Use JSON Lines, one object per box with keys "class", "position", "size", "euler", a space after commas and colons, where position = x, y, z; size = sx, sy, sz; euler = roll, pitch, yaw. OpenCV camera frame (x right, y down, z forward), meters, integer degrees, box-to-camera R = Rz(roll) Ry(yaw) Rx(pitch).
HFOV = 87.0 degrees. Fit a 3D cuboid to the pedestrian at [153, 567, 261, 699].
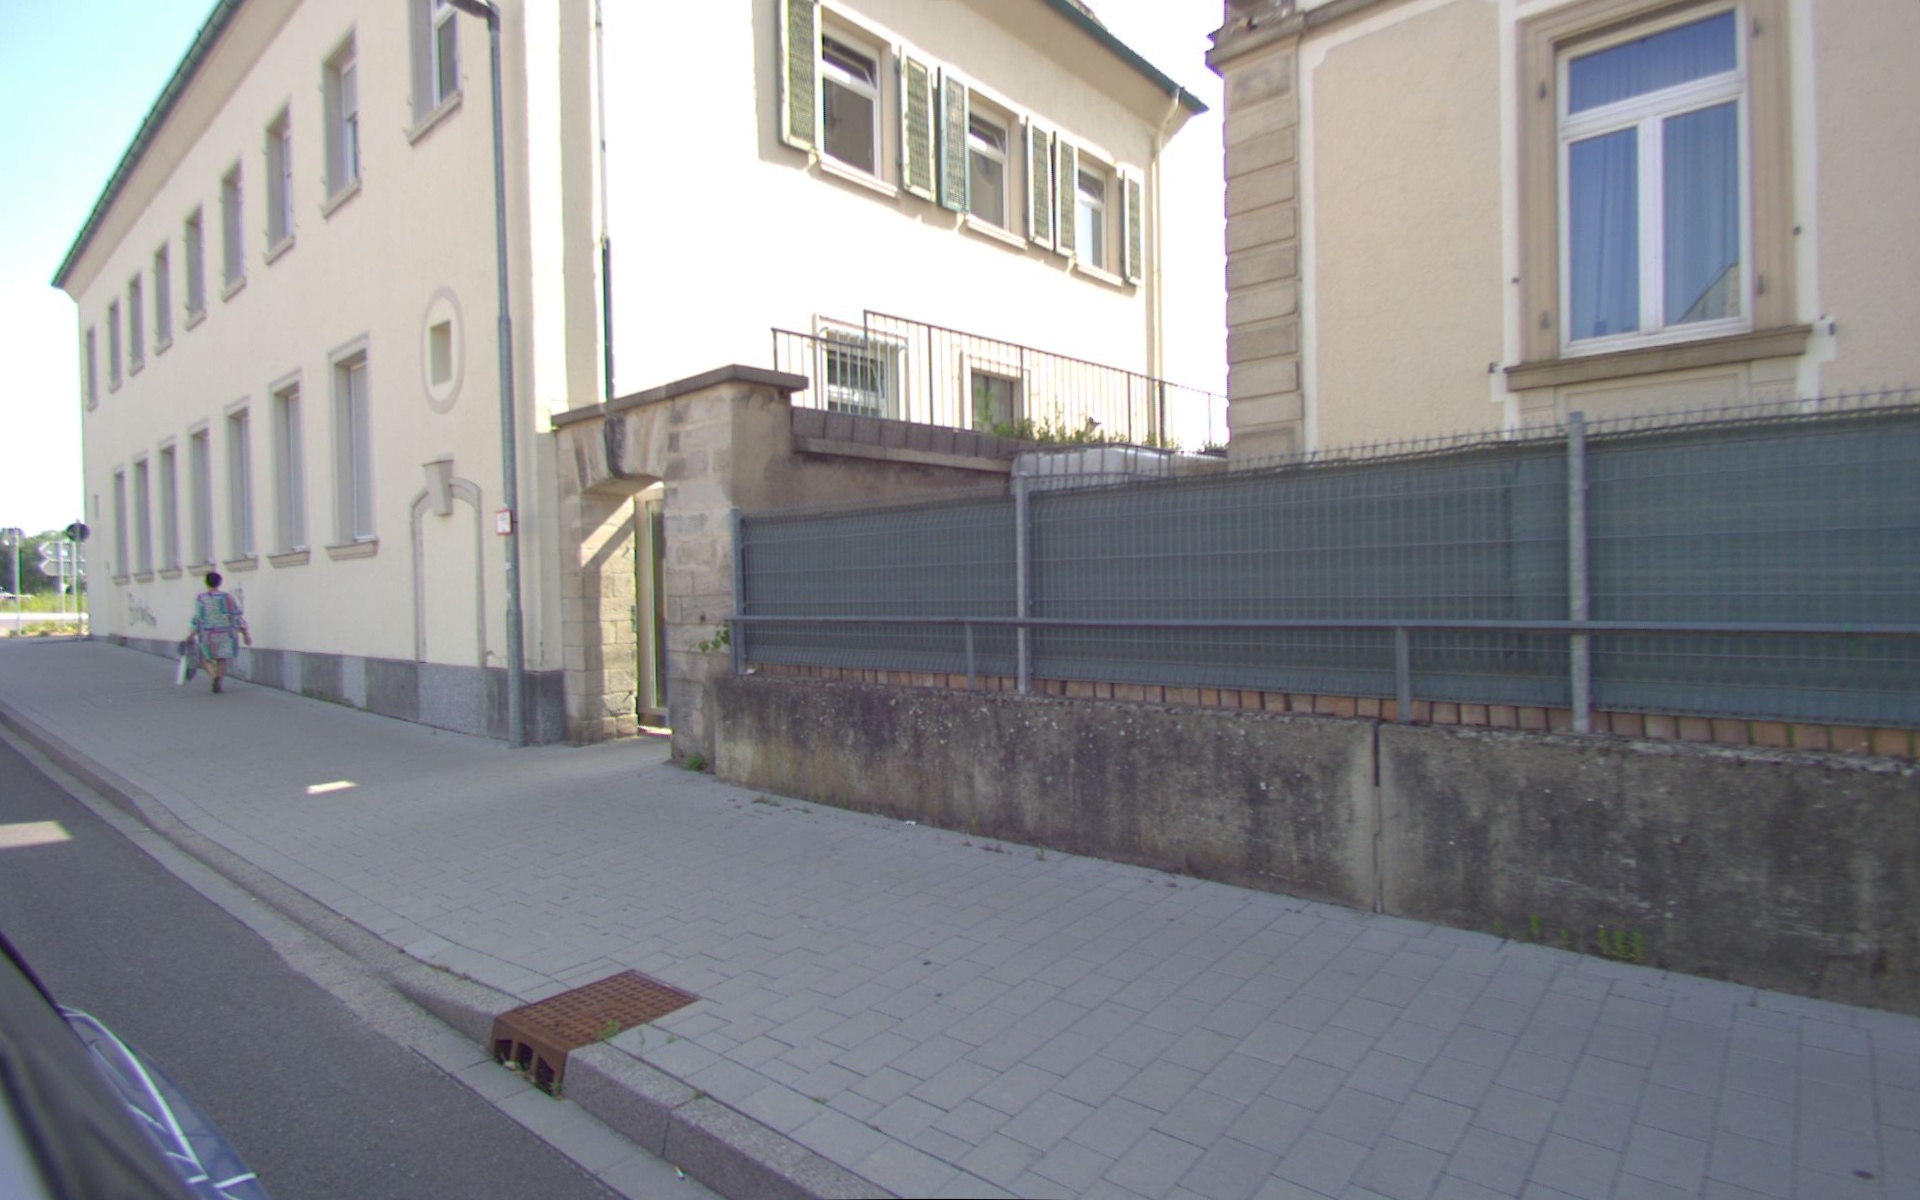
{"class": "pedestrian", "position": [-9.909, 0.401, 13.328], "size": [0.758, 1.643, 0.948], "euler": [0, 2, 41]}
